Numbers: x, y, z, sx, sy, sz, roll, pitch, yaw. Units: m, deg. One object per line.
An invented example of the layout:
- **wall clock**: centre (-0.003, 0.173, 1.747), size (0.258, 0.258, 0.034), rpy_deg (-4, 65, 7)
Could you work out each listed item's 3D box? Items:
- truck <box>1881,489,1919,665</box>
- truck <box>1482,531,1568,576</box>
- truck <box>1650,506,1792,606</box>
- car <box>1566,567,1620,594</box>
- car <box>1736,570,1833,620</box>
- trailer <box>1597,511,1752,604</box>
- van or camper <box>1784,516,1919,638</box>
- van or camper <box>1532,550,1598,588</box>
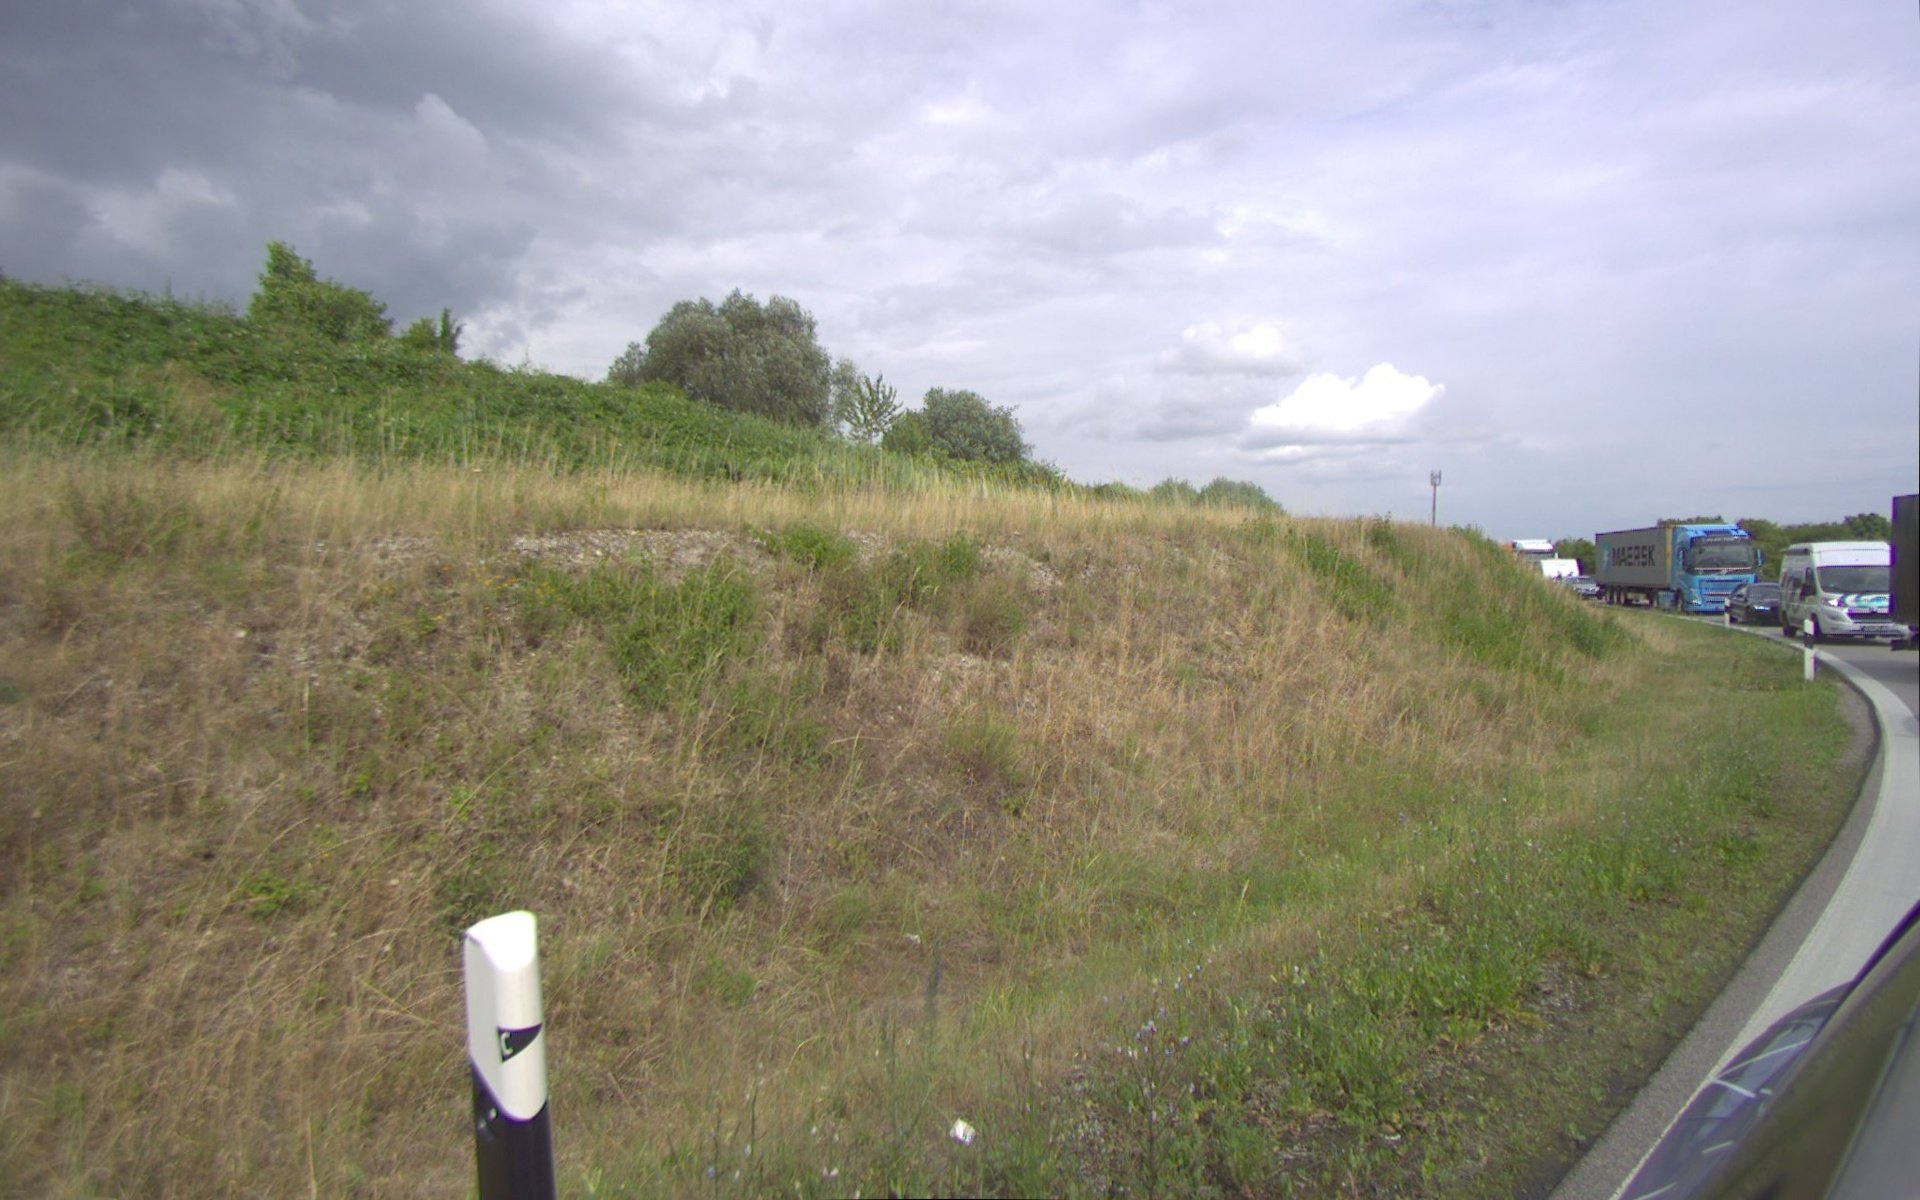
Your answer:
- **truck**: centre (17.797, -0.393, 16.016), size (2.541, 3.207, 7.406), rpy_deg (0, 0, 24)
- **truck**: centre (44.158, -3.571, 79.484), size (3.080, 3.279, 11.113), rpy_deg (0, 2, 14)
- **truck**: centre (33.899, -1.840, 45.433), size (3.139, 4.124, 6.605), rpy_deg (0, 0, 19)
- **car**: centre (39.149, -1.226, 62.658), size (1.974, 1.548, 3.977), rpy_deg (0, 2, 19)
- **car**: centre (29.241, -0.233, 36.027), size (1.983, 1.638, 3.960), rpy_deg (1, 2, 29)
- **trailer**: centre (36.185, -1.986, 51.935), size (3.234, 4.214, 11.943), rpy_deg (0, 0, 19)
- **van or camper**: centre (24.190, -0.591, 27.113), size (2.379, 2.945, 5.659), rpy_deg (0, 0, 30)
- **van or camper**: centre (40.826, -2.157, 68.435), size (2.519, 2.237, 5.684), rpy_deg (-1, 4, 17)
